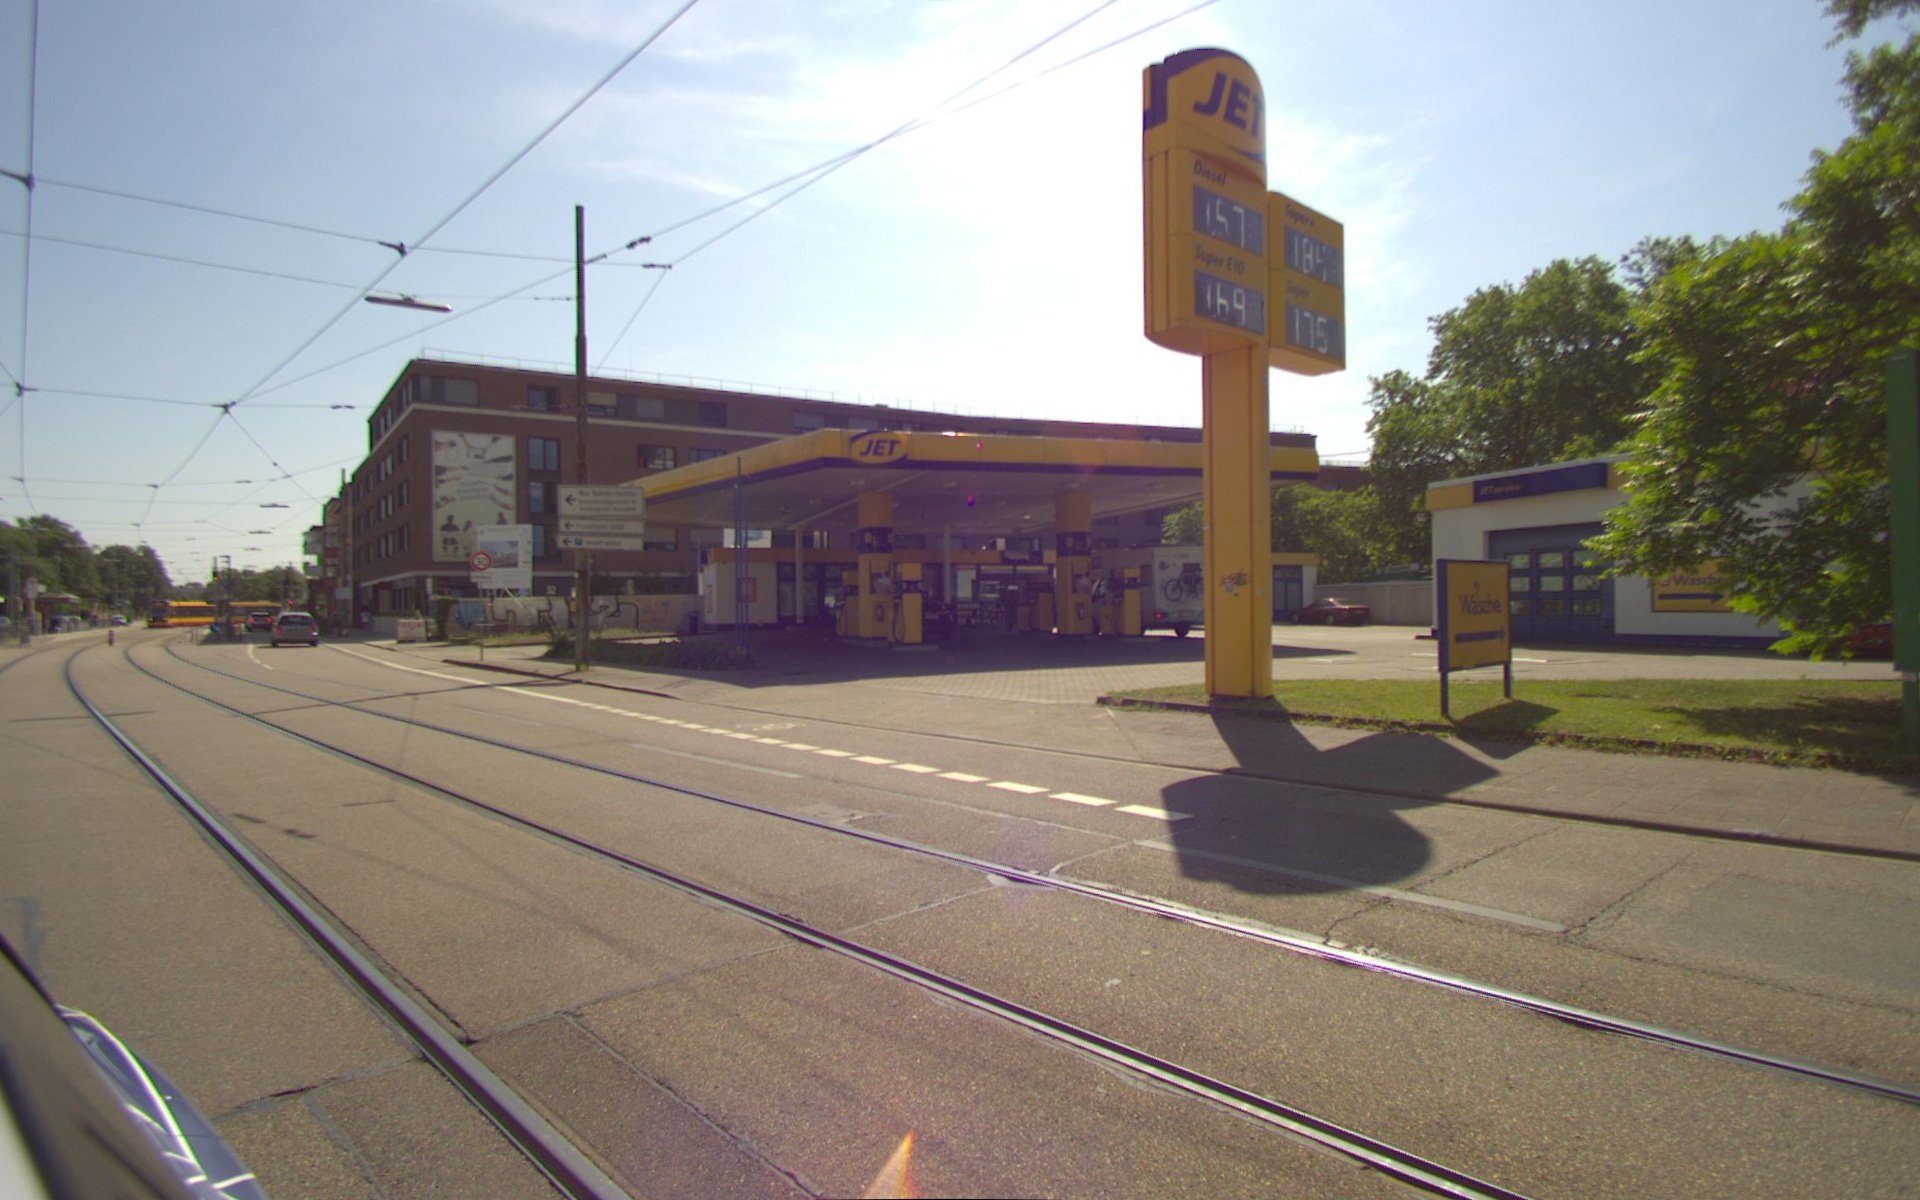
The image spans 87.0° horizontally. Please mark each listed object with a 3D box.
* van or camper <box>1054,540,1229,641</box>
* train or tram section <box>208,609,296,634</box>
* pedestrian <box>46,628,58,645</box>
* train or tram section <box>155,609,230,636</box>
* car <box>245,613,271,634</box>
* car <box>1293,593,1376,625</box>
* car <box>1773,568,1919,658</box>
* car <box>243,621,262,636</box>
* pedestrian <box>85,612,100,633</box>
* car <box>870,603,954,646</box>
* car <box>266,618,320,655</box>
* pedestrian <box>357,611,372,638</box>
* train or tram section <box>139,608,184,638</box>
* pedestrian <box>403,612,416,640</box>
[{"bbox_3d":[5.978,-0.339,34.524,2.571,2.989,6.735,-4,2,-22],"label":"van or camper"},{"bbox_3d":[-105.653,3.095,151.398,2.656,3.507,13.308,-1,0,7],"label":"train or tram section"},{"bbox_3d":[-66.365,2.651,73.966,0.621,1.264,0.711,0,-1,-37],"label":"pedestrian"},{"bbox_3d":[-104.902,3.008,138.658,2.644,3.507,13.370,-1,0,-12],"label":"train or tram section"},{"bbox_3d":[-63.145,2.092,90.980,1.777,1.742,4.198,-3,0,-36],"label":"car"},{"bbox_3d":[17.943,0.424,48.649,1.711,1.470,3.574,-1,0,-24],"label":"car"},{"bbox_3d":[17.802,0.185,19.048,4.100,1.538,1.943,-1,0,-18],"label":"car"},{"bbox_3d":[-77.228,3.102,110.405,1.604,1.480,3.874,-1,-1,-36],"label":"car"},{"bbox_3d":[-78.043,2.034,91.053,0.968,1.872,1.240,0,-1,-36],"label":"pedestrian"},{"bbox_3d":[-1.740,0.798,35.302,1.673,1.313,4.404,-3,1,-19],"label":"car"},{"bbox_3d":[-30.731,1.636,46.588,1.723,1.583,3.899,1,-1,-38],"label":"car"},{"bbox_3d":[-41.275,1.711,70.144,0.833,1.833,0.840,-1,-1,-36],"label":"pedestrian"},{"bbox_3d":[-100.180,2.877,127.092,2.643,3.507,13.378,-1,-1,-31],"label":"train or tram section"},{"bbox_3d":[-33.563,1.568,61.653,0.573,1.677,0.701,0,-1,-38],"label":"pedestrian"}]
